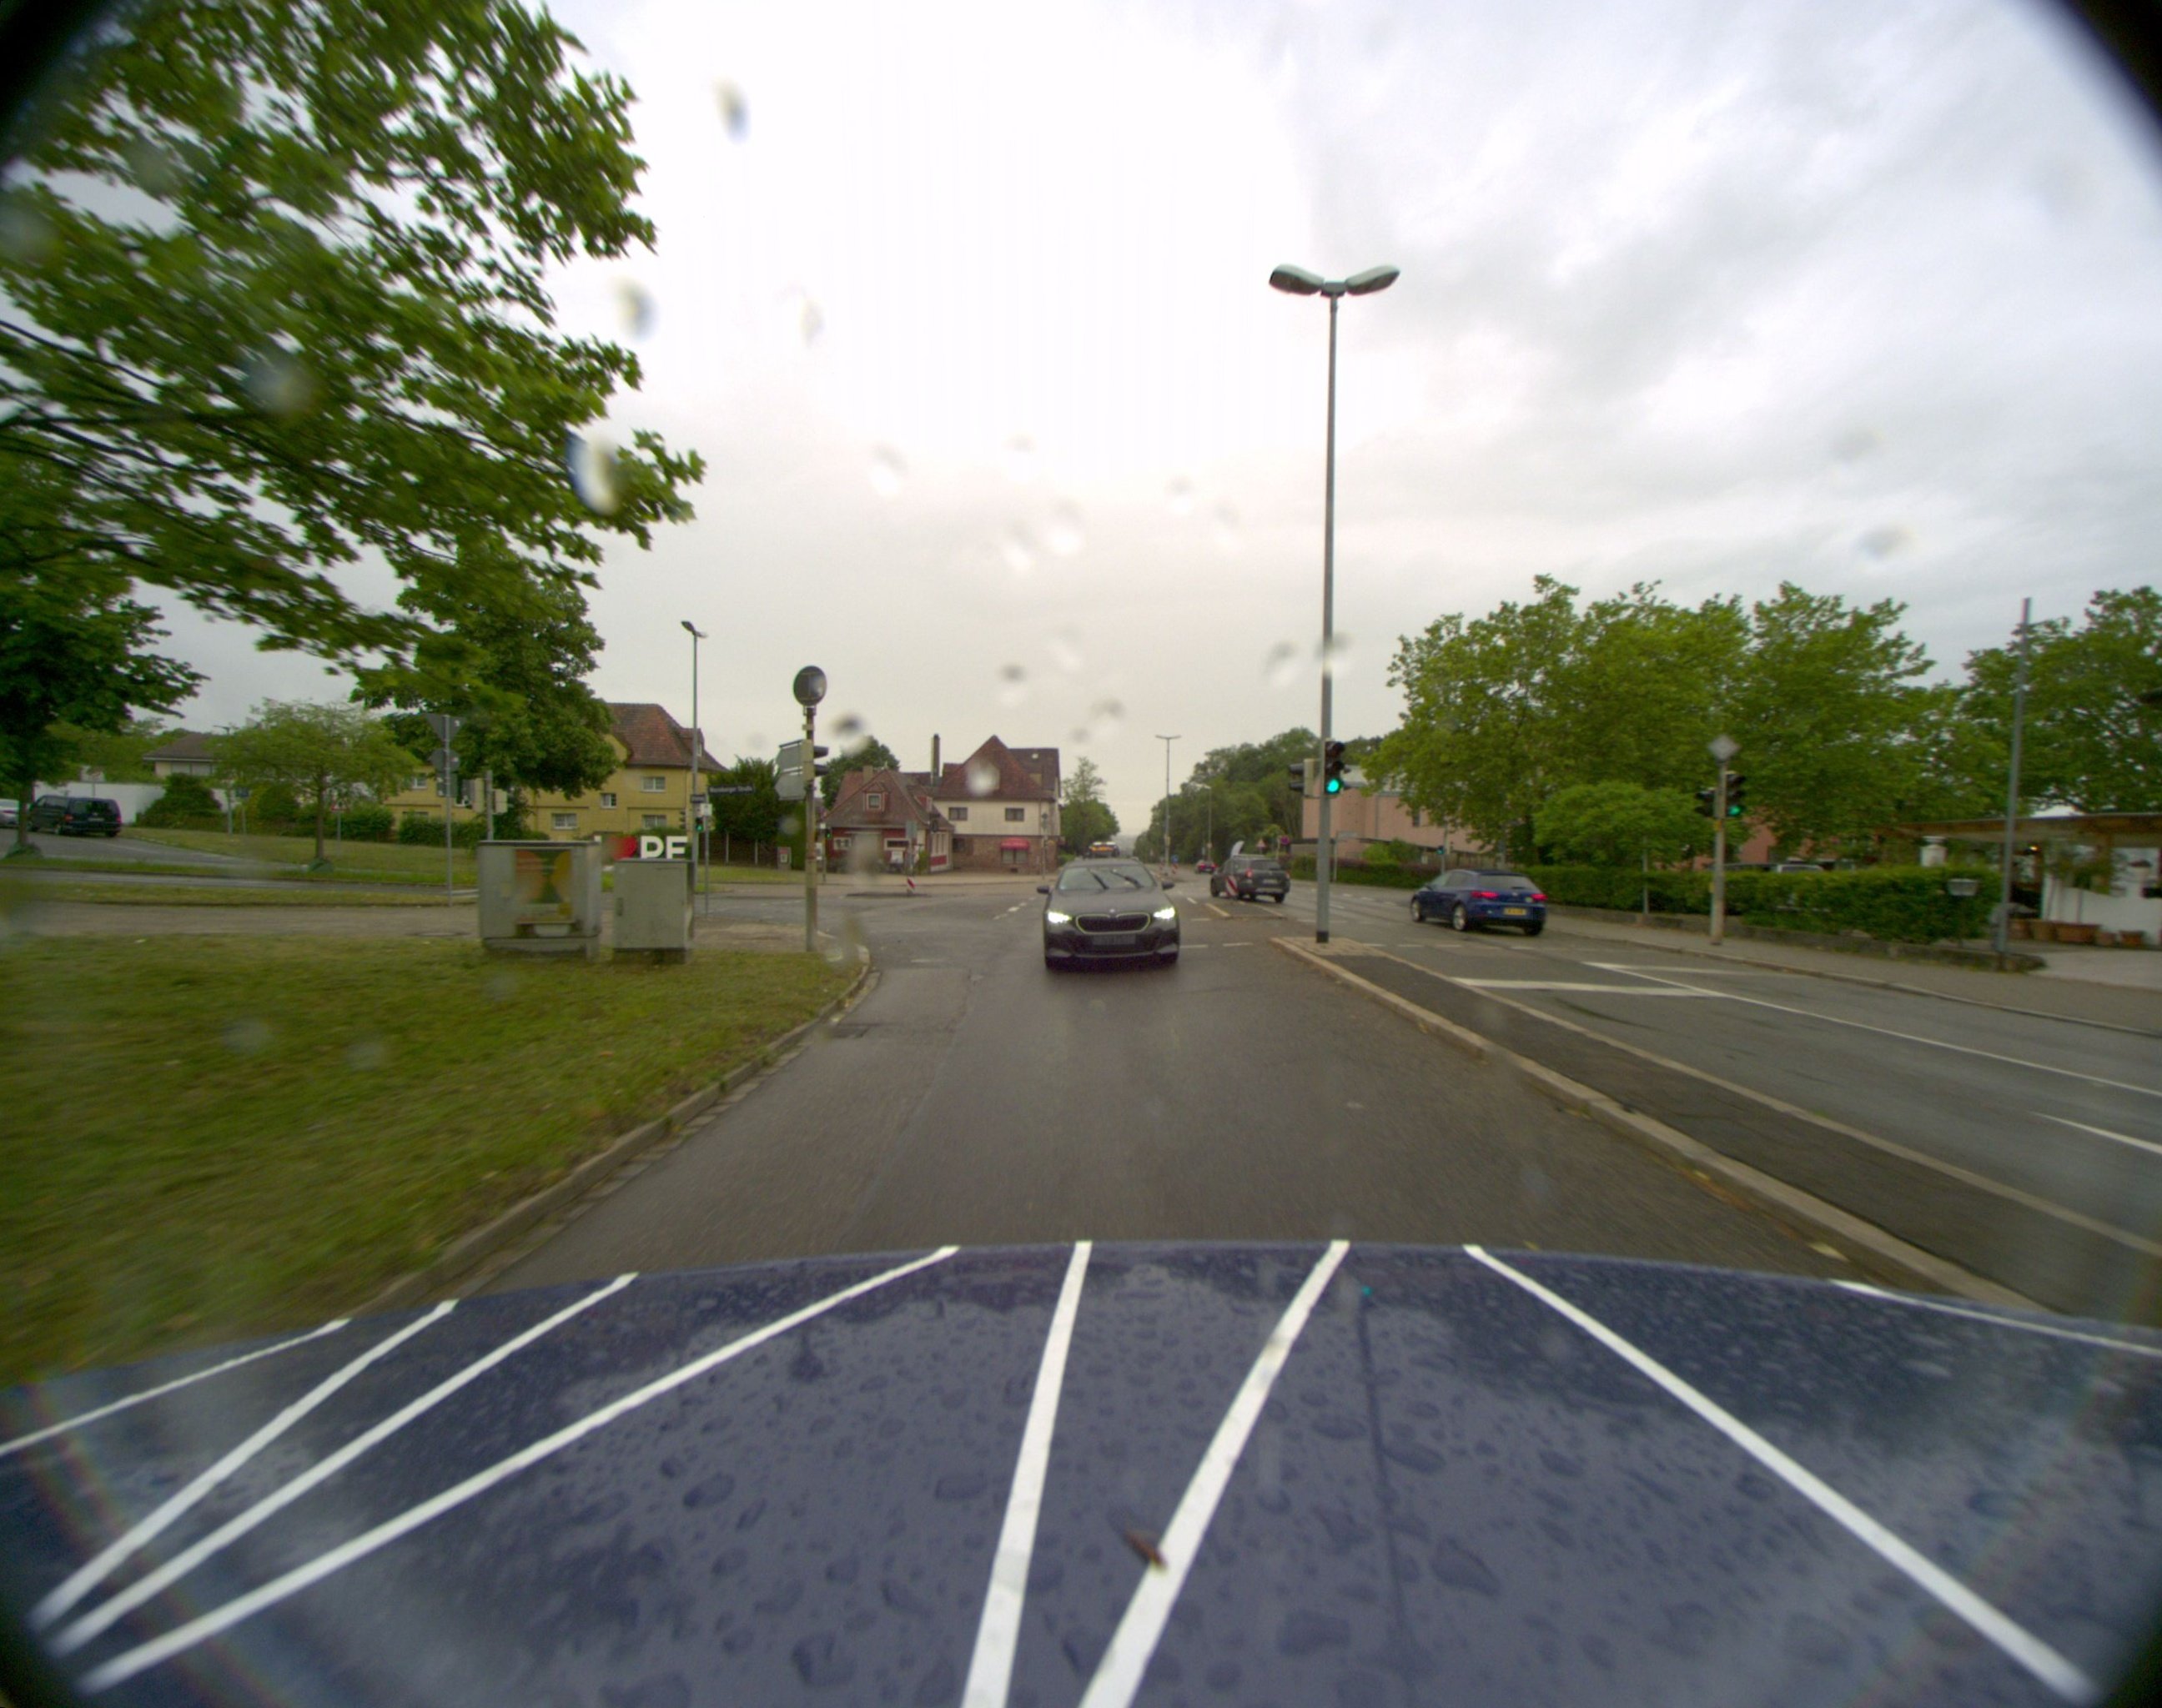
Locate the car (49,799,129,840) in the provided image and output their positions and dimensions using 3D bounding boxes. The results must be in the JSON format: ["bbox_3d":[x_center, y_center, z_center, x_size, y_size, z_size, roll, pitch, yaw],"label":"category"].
[{"bbox_3d":[-50.577,-1.725,38.730,4.261,1.925,2.004,1,0,31],"label":"car"}]

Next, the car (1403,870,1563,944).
[{"bbox_3d":[9.325,1.153,18.049,1.771,1.411,4.106,3,0,4],"label":"car"}]

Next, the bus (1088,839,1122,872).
[{"bbox_3d":[2.283,0.072,71.532,2.897,2.770,10.387,-2,0,2],"label":"bus"}]

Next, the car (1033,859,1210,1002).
[{"bbox_3d":[0.466,0.898,10.881,1.998,1.586,4.147,-2,0,0],"label":"car"}]

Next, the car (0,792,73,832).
[{"bbox_3d":[-56.245,-2.204,39.918,4.268,1.925,2.001,2,0,6],"label":"car"}]

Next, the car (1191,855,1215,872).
[{"bbox_3d":[12.344,0.975,76.983,1.998,1.652,4.305,2,0,4],"label":"car"}]

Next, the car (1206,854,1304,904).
[{"bbox_3d":[6.200,0.850,27.587,2.000,1.652,4.300,2,0,-8],"label":"car"}]
